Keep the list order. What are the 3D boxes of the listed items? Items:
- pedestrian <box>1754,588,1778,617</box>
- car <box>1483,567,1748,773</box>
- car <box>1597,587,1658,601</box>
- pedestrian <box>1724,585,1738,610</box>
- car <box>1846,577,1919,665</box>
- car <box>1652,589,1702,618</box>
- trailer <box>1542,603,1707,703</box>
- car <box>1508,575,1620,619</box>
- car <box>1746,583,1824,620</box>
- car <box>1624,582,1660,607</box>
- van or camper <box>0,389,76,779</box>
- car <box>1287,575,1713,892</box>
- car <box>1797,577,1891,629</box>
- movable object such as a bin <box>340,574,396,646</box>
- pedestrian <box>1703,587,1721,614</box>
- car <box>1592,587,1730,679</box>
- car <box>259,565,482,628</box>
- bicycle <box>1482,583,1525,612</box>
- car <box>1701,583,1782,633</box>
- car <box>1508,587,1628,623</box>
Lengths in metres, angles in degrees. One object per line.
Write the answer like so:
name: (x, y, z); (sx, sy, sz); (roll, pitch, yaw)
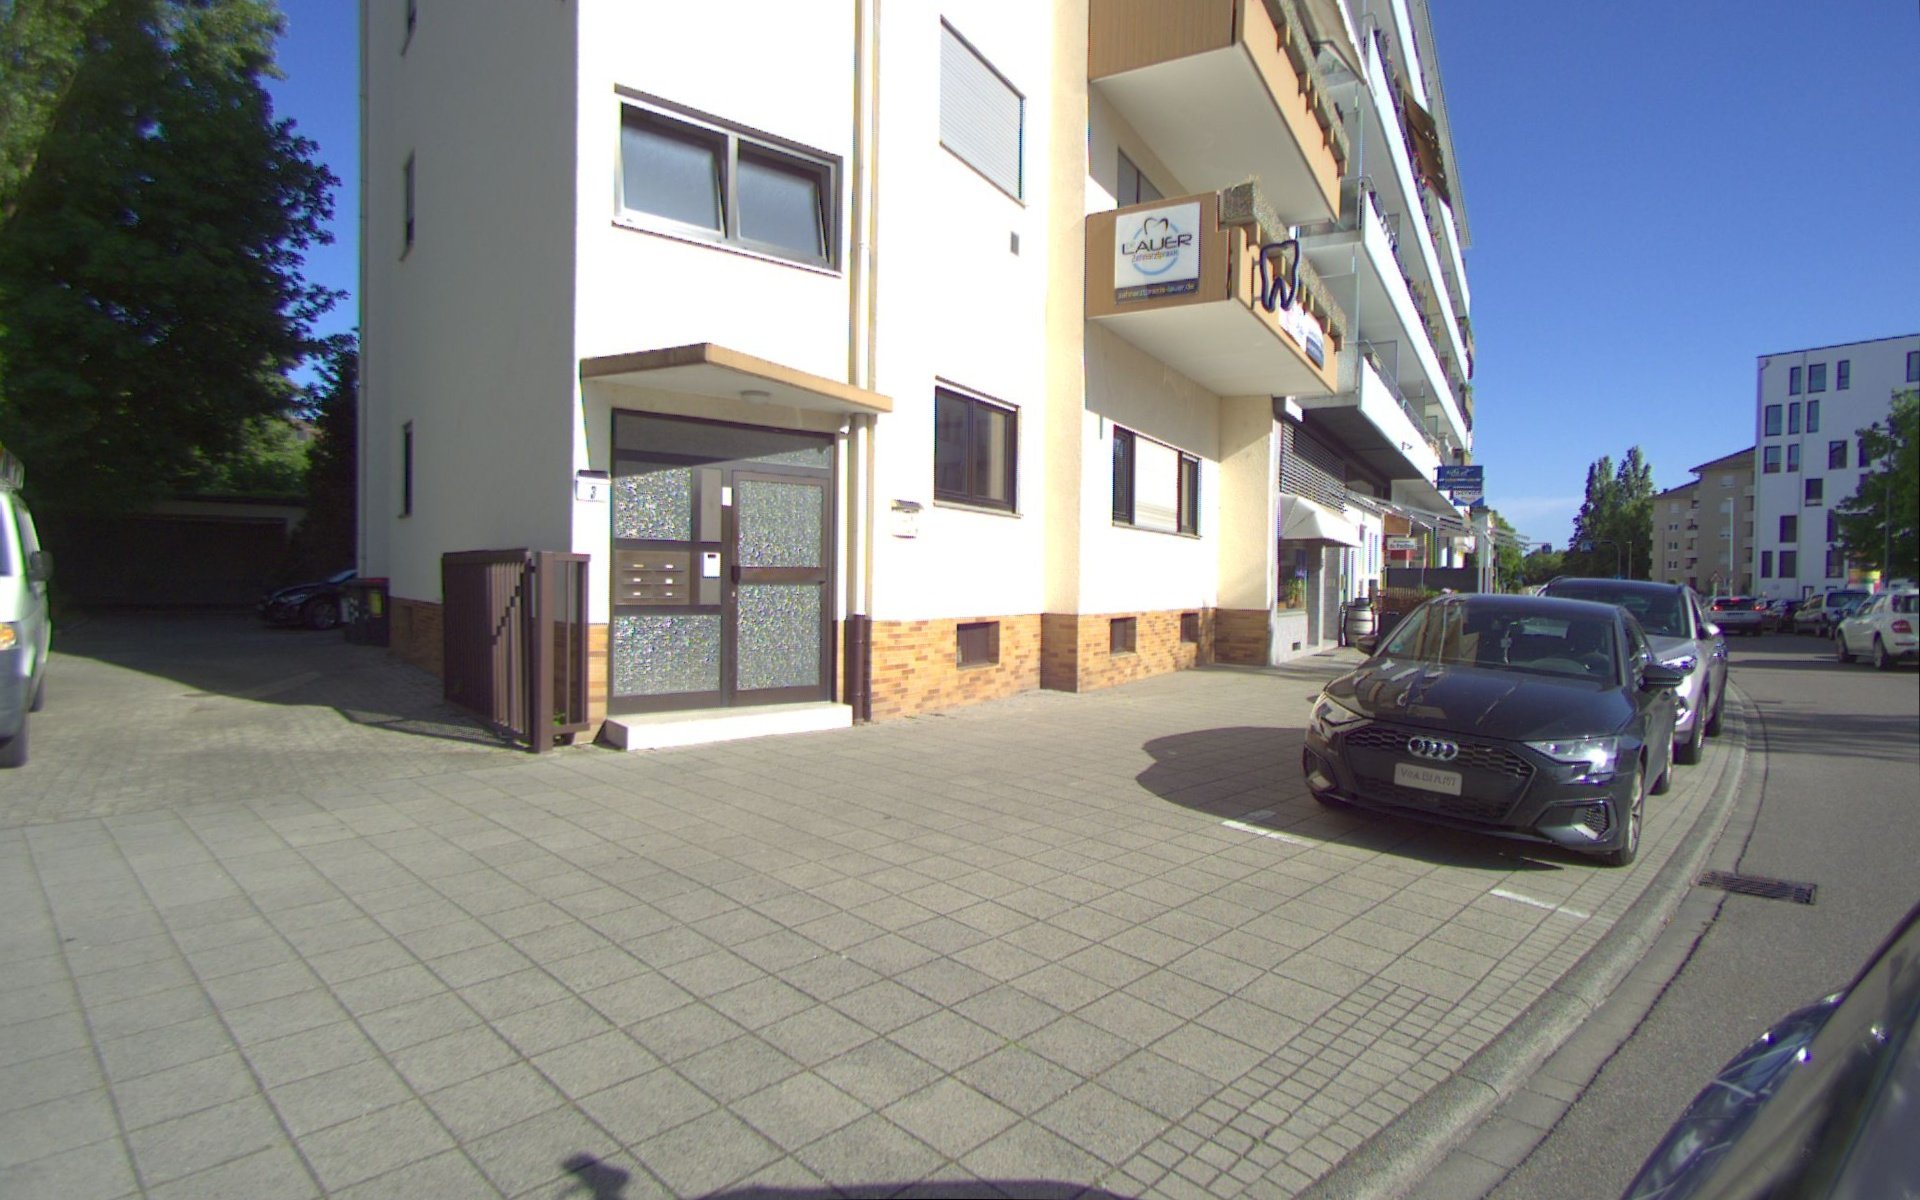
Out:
pedestrian: (49.372, 0.161, 61.986); (0.857, 1.735, 0.979); (0, 1, -38)
car: (6.993, 0.539, 10.567); (1.815, 1.674, 4.495); (1, 1, 40)
car: (63.716, -0.581, 96.631); (4.478, 1.182, 2.000); (-1, 0, 1)
pedestrian: (60.967, -0.178, 80.031); (0.789, 1.907, 0.833); (2, 3, 45)
car: (21.596, 0.423, 22.522); (1.980, 1.807, 4.470); (2, 1, 31)
car: (40.122, 0.161, 56.715); (1.729, 1.531, 3.695); (1, 1, 27)
trailer: (9.754, 0.693, 14.797); (1.602, 1.193, 2.898); (2, 2, 42)
car: (30.135, -0.178, 50.571); (4.435, 1.920, 2.055); (2, 3, -11)
car: (38.656, 0.030, 47.526); (1.896, 1.549, 4.581); (1, 2, 28)
car: (48.306, -0.391, 71.747); (1.720, 1.502, 4.061); (9, 5, 31)
van or camper: (-7.858, -0.177, 7.446); (1.821, 2.317, 4.973); (1, 1, -39)
car: (3.950, 0.610, 6.985); (1.716, 1.426, 4.252); (4, 3, 40)
car: (33.777, 0.080, 38.803); (1.677, 1.862, 4.301); (0, 1, 27)
movable object such as a bin: (-9.181, 0.143, 15.687); (0.599, 1.068, 0.918); (0, 1, -40)
pedestrian: (61.478, 0.030, 82.715); (0.763, 2.147, 0.956); (-1, 0, 8)
car: (13.703, 0.528, 19.670); (1.966, 1.468, 4.937); (1, 2, 37)
car: (-12.289, -0.079, 21.210); (3.923, 1.194, 1.515); (0, 2, -34)
bicycle: (24.566, -0.122, 45.735); (2.217, 1.270, 0.707); (1, -1, -33)
car: (32.001, 0.269, 41.584); (1.908, 1.745, 4.296); (1, 3, 28)
car: (26.574, 0.213, 44.252); (4.550, 1.484, 1.695); (0, 2, -13)
